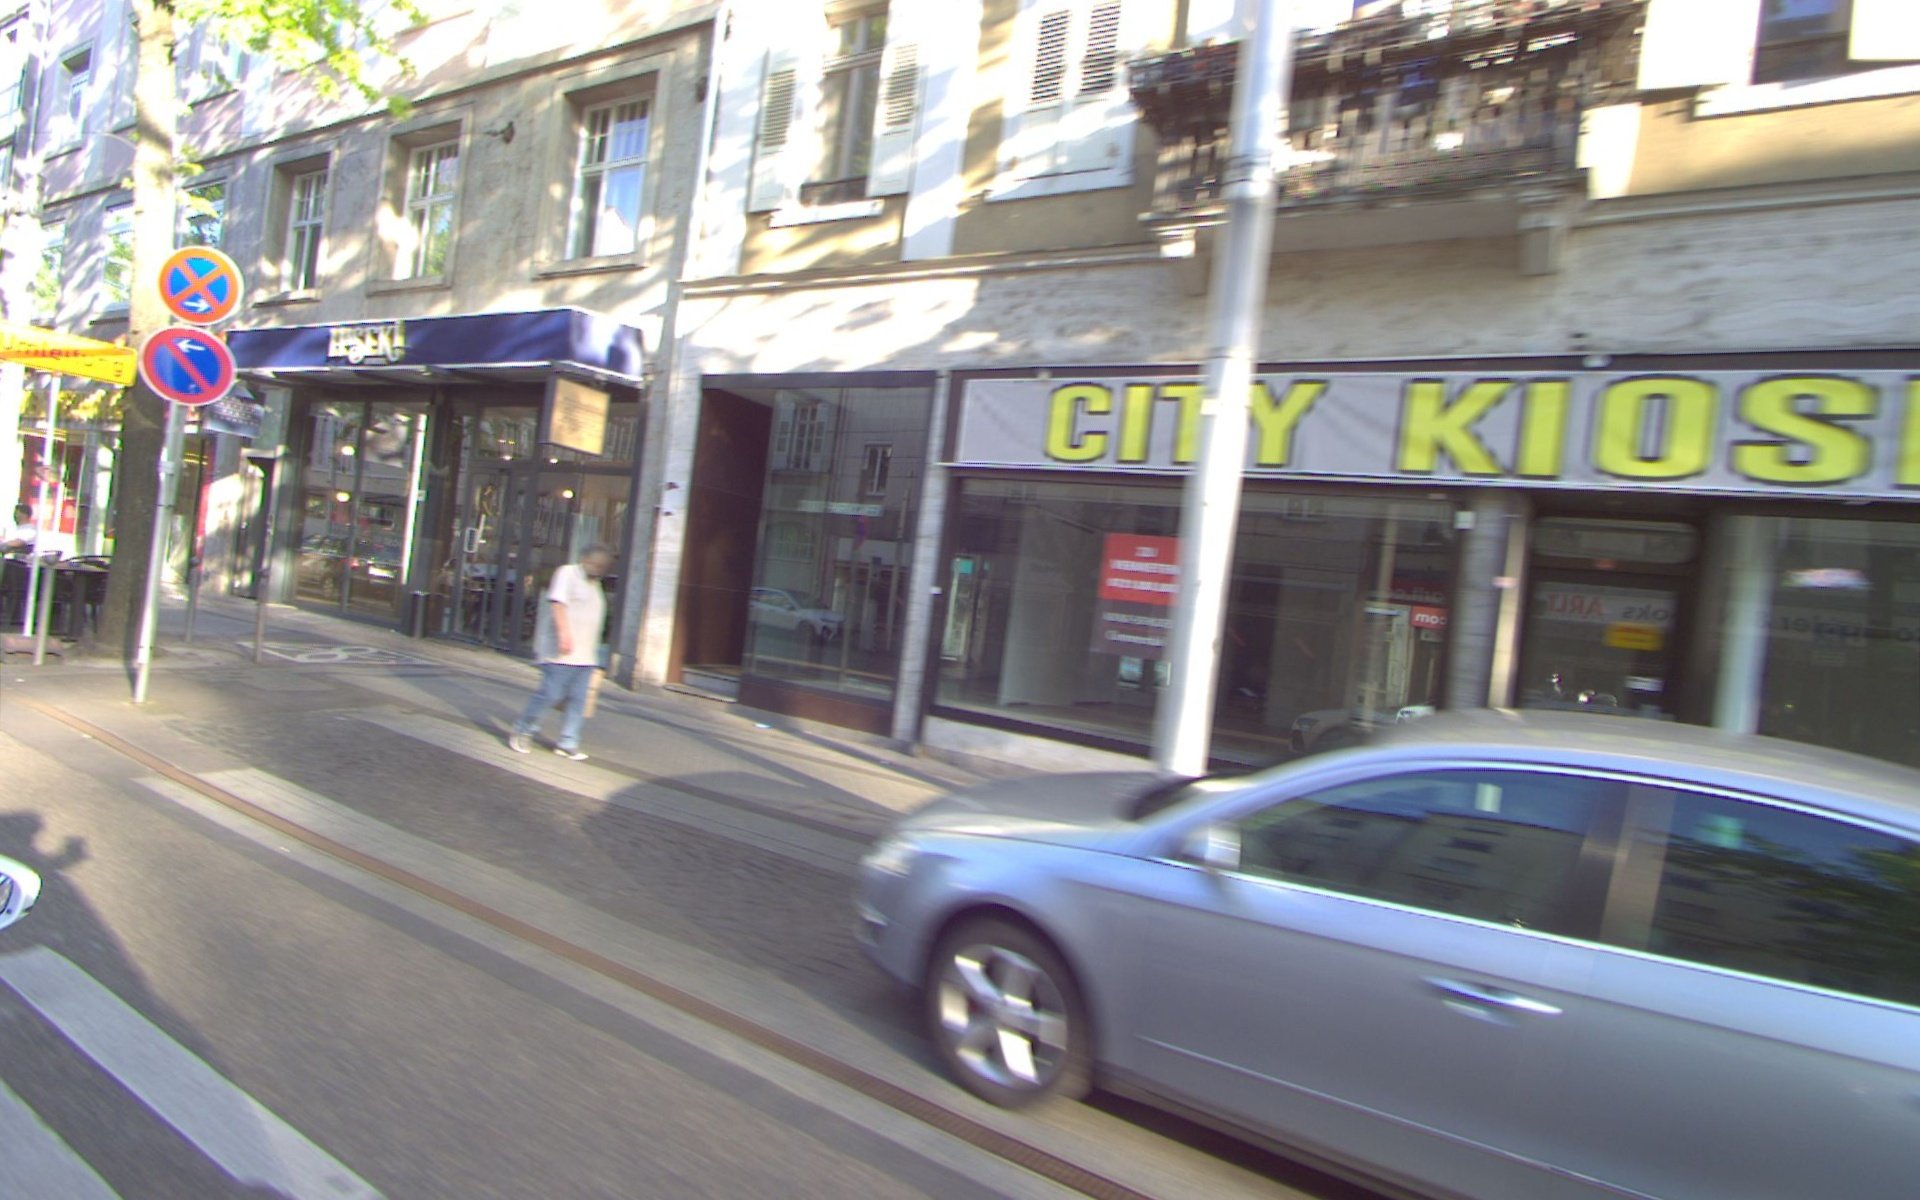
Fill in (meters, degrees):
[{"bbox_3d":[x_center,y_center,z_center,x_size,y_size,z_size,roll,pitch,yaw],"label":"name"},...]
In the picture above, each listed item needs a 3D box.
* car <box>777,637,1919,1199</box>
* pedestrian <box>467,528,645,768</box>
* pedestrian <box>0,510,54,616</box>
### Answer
[{"bbox_3d":[1.696,1.092,3.220,4.350,1.458,1.777,6,1,32],"label":"car"},{"bbox_3d":[-3.053,0.357,7.627,0.743,1.663,0.804,7,0,32],"label":"pedestrian"},{"bbox_3d":[-13.158,-0.522,13.753,0.734,1.403,0.709,7,-1,-6],"label":"pedestrian"}]
